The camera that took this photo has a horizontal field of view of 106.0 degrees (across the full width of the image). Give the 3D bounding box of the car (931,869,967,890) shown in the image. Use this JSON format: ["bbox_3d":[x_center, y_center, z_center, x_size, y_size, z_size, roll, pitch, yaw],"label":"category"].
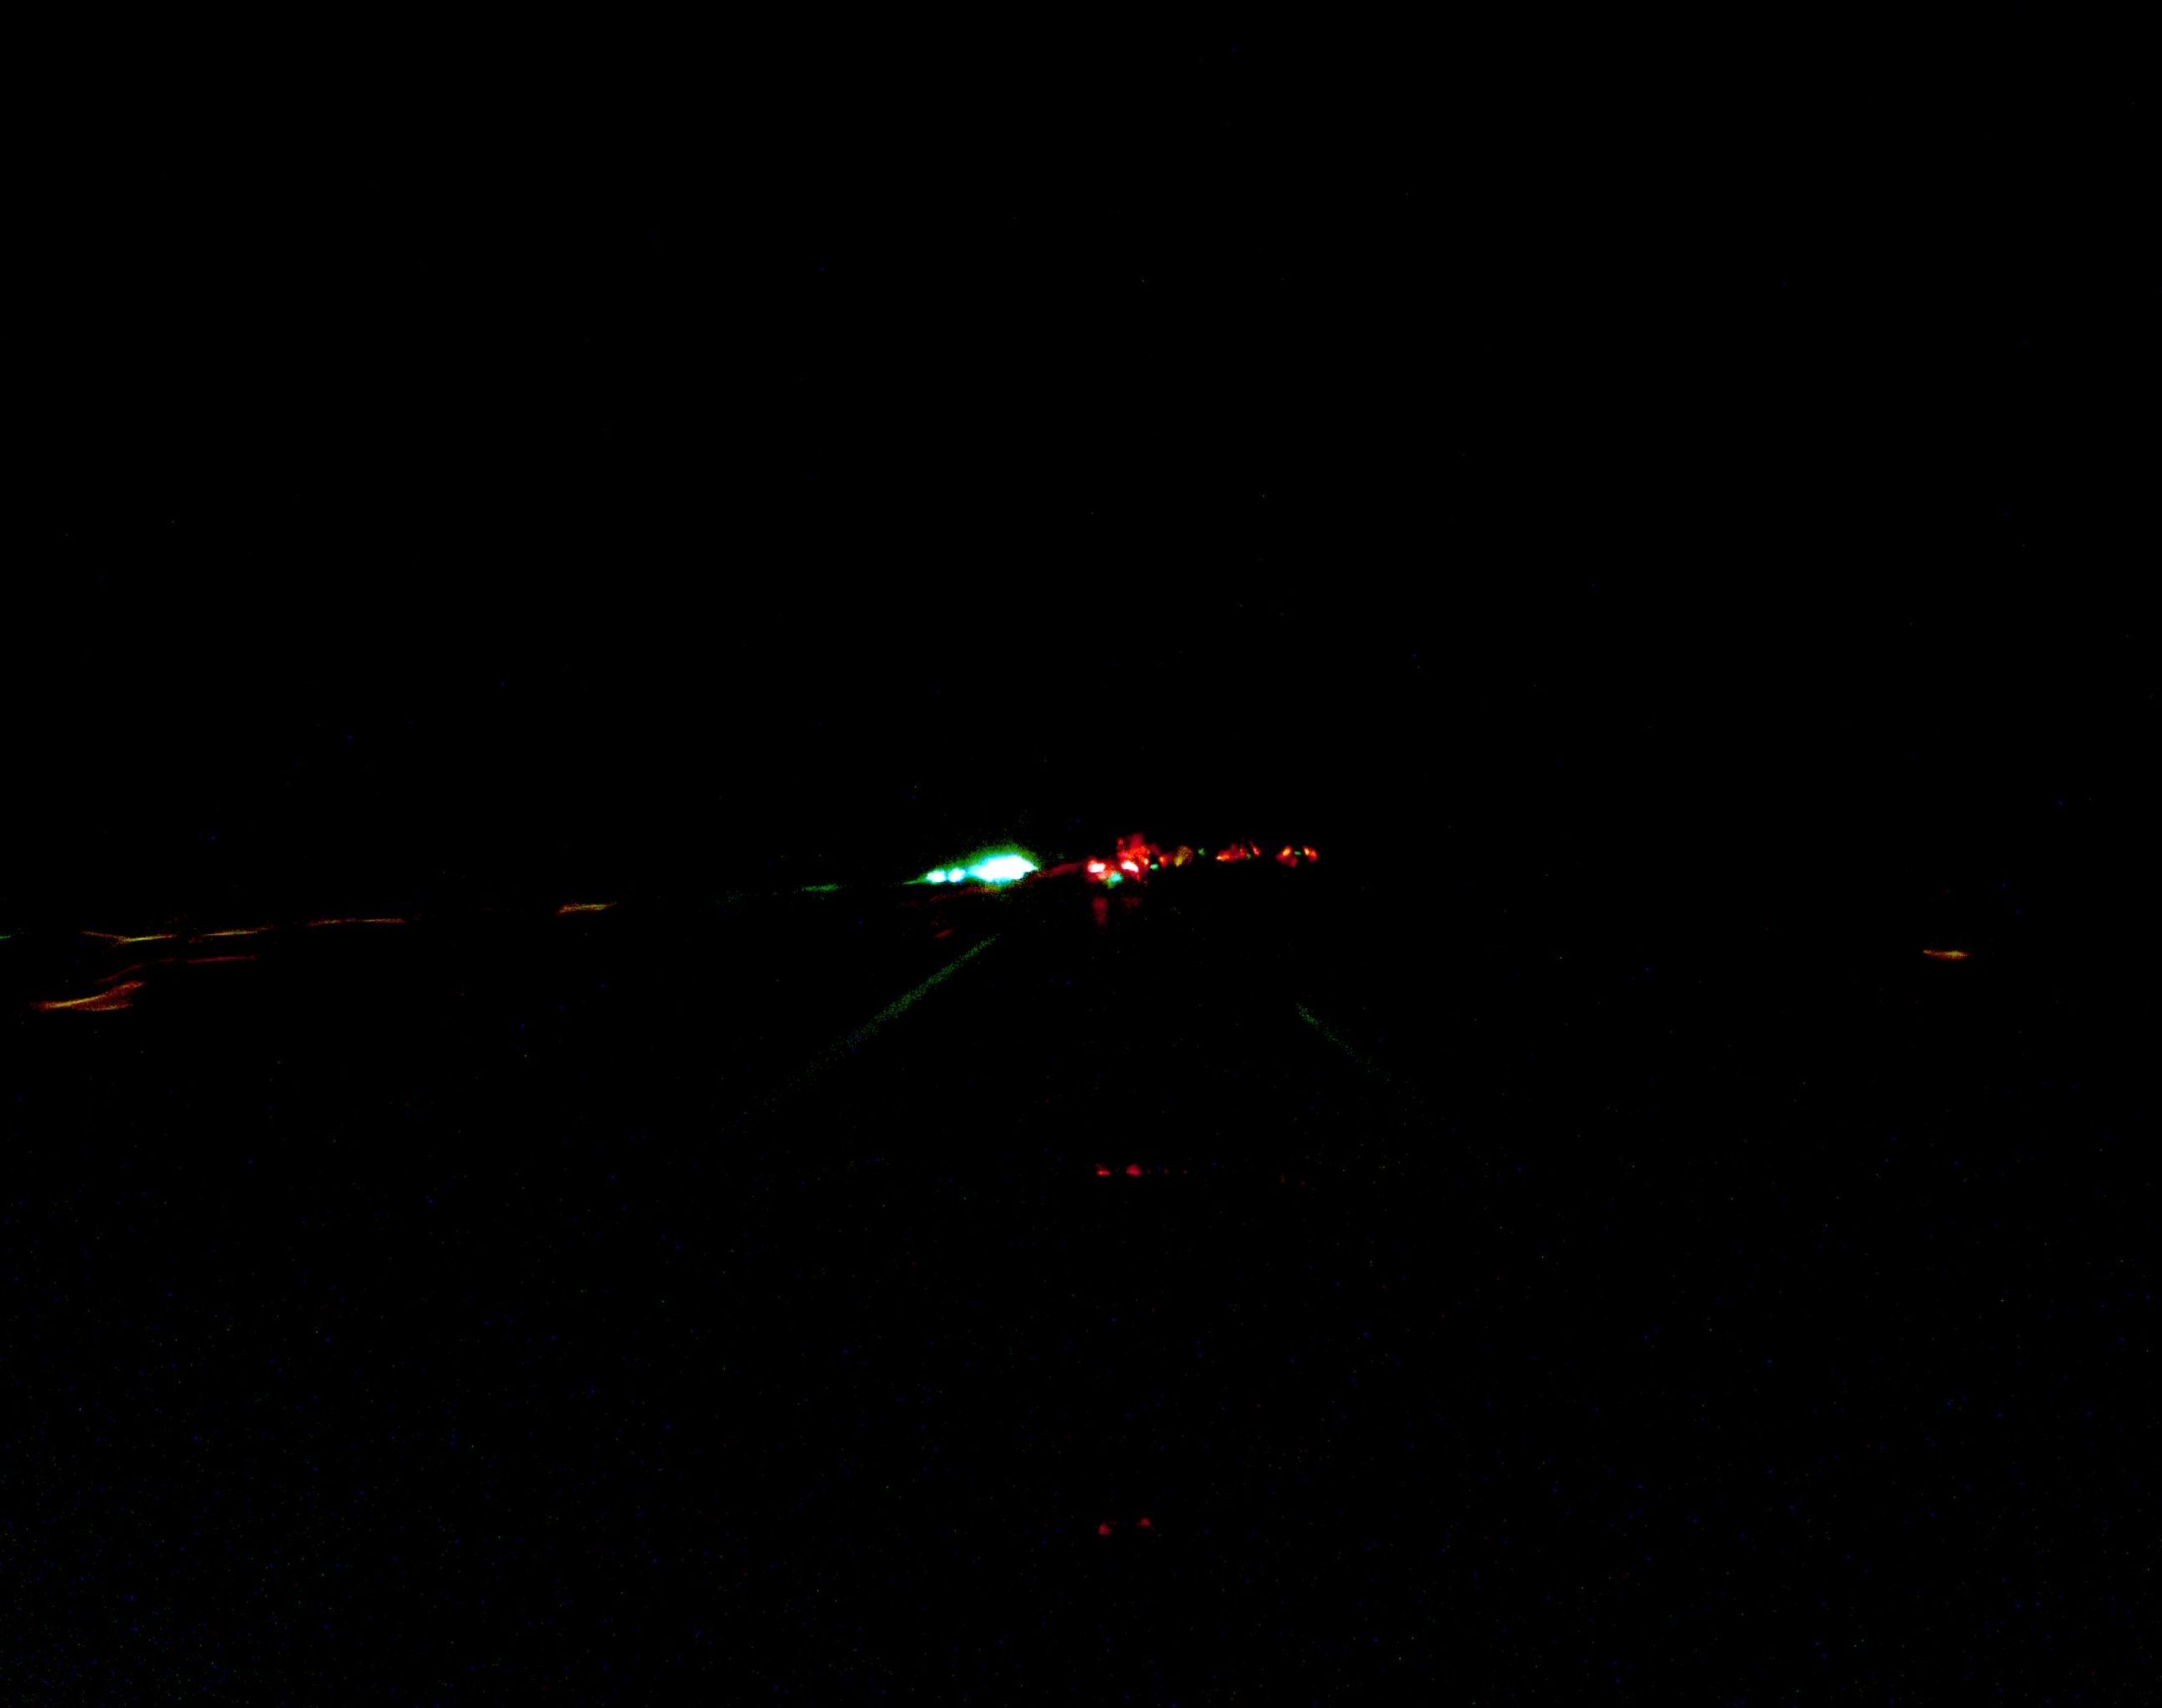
[{"bbox_3d":[-10.607,2.024,65.827,1.985,1.525,4.673,0,0,2],"label":"car"}]

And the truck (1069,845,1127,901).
[{"bbox_3d":[0.646,0.735,33.719,2.138,2.077,6.602,0,0,0],"label":"truck"}]

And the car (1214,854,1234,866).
[{"bbox_3d":[18.453,0.763,105.140,1.986,1.600,4.001,0,-1,1],"label":"car"}]

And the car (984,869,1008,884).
[{"bbox_3d":[-9.408,2.451,90.444,1.985,1.525,4.673,0,0,2],"label":"car"}]

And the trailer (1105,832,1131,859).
[{"bbox_3d":[6.276,-1.363,141.341,2.734,4.248,13.351,5,0,-4],"label":"trailer"}]

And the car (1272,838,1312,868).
[{"bbox_3d":[15.339,-0.099,59.530,2.052,2.013,5.458,-2,0,6],"label":"car"}]

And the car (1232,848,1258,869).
[{"bbox_3d":[16.535,0.428,82.155,2.221,2.013,4.008,-2,0,7],"label":"car"}]

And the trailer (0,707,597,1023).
[{"bbox_3d":[-16.636,0.223,18.570,2.612,4.545,13.727,0,0,2],"label":"trailer"}]

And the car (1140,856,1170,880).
[{"bbox_3d":[5.557,1.017,61.662,1.794,1.617,4.257,-4,-1,1],"label":"car"}]

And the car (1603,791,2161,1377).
[{"bbox_3d":[3.918,0.615,2.887,1.836,1.624,3.680,-1,0,2],"label":"car"}]

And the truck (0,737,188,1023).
[{"bbox_3d":[-16.870,0.375,11.285,2.595,4.113,5.680,0,-1,2],"label":"truck"}]
